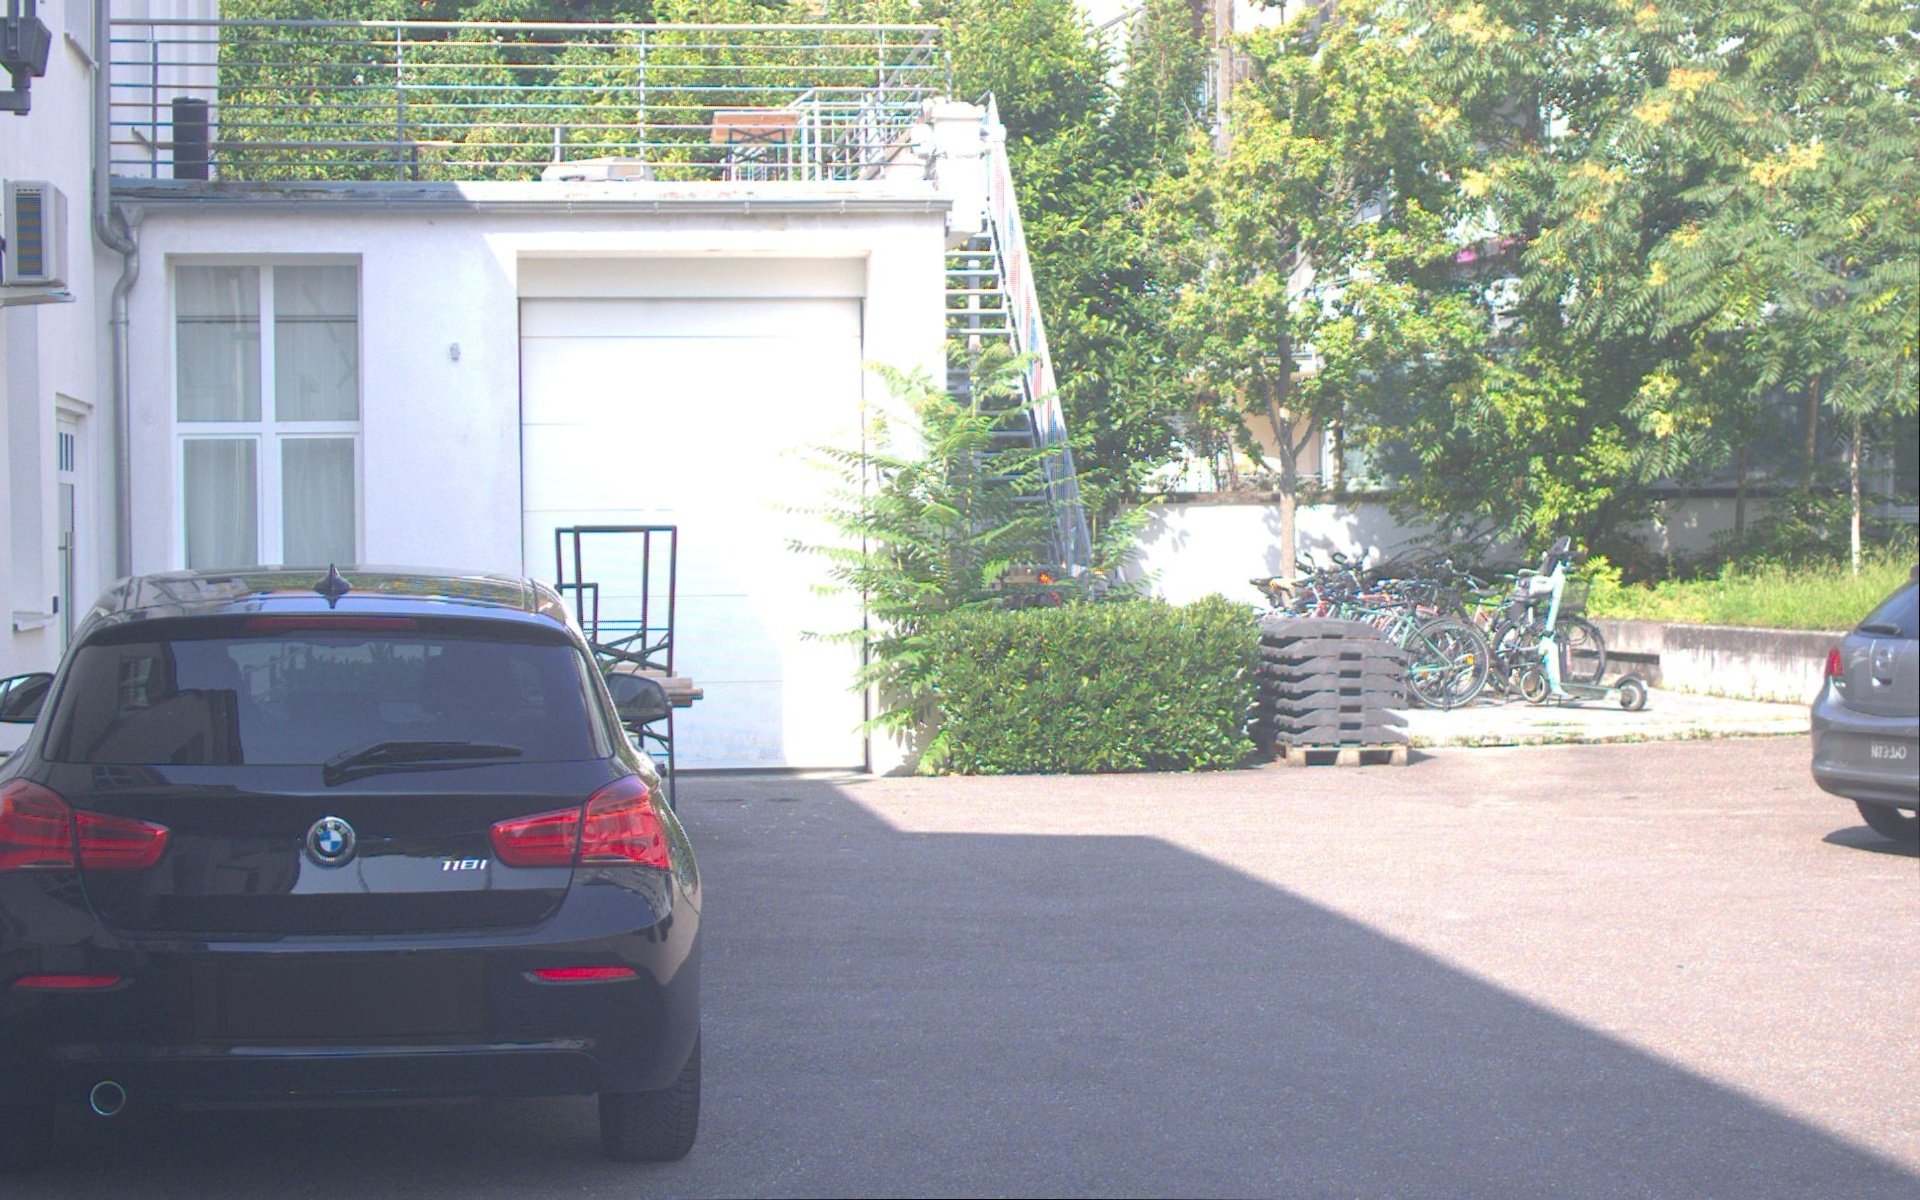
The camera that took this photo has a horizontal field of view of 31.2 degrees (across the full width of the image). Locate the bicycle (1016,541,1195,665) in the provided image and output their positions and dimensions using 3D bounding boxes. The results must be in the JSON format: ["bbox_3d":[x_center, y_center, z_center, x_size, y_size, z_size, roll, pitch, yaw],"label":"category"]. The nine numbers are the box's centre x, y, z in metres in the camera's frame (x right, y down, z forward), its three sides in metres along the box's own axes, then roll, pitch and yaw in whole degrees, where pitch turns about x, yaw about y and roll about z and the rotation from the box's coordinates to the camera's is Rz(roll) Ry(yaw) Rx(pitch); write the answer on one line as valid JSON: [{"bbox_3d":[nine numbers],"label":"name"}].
[{"bbox_3d":[1.466,0.017,34.316,1.988,1.140,0.489,-3,3,-42],"label":"bicycle"}]

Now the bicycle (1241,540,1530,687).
[{"bbox_3d":[3.668,0.110,29.671,2.410,1.242,0.526,0,1,-8],"label":"bicycle"}]

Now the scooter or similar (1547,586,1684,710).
[{"bbox_3d":[5.057,0.364,26.548,0.999,0.921,0.359,1,2,45],"label":"scooter or similar"}]

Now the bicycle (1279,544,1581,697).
[{"bbox_3d":[3.871,0.162,28.339,2.410,1.242,0.526,0,1,-8],"label":"bicycle"}]

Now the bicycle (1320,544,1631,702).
[{"bbox_3d":[4.131,0.176,27.585,2.410,1.242,0.526,0,1,-8],"label":"bicycle"}]

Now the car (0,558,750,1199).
[{"bbox_3d":[-1.718,0.622,9.404,1.792,1.423,4.137,0,1,-10],"label":"car"}]

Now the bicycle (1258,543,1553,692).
[{"bbox_3d":[3.763,0.141,29.053,2.410,1.242,0.526,0,1,-8],"label":"bicycle"}]

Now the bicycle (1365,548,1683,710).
[{"bbox_3d":[4.420,0.219,26.967,2.410,1.242,0.526,0,1,-8],"label":"bicycle"}]

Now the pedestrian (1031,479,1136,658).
[{"bbox_3d":[1.235,-0.321,34.414,0.609,1.765,0.860,-1,2,-43],"label":"pedestrian"}]

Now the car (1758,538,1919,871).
[{"bbox_3d":[5.948,0.420,16.398,3.895,1.461,1.663,-2,2,-21],"label":"car"}]
